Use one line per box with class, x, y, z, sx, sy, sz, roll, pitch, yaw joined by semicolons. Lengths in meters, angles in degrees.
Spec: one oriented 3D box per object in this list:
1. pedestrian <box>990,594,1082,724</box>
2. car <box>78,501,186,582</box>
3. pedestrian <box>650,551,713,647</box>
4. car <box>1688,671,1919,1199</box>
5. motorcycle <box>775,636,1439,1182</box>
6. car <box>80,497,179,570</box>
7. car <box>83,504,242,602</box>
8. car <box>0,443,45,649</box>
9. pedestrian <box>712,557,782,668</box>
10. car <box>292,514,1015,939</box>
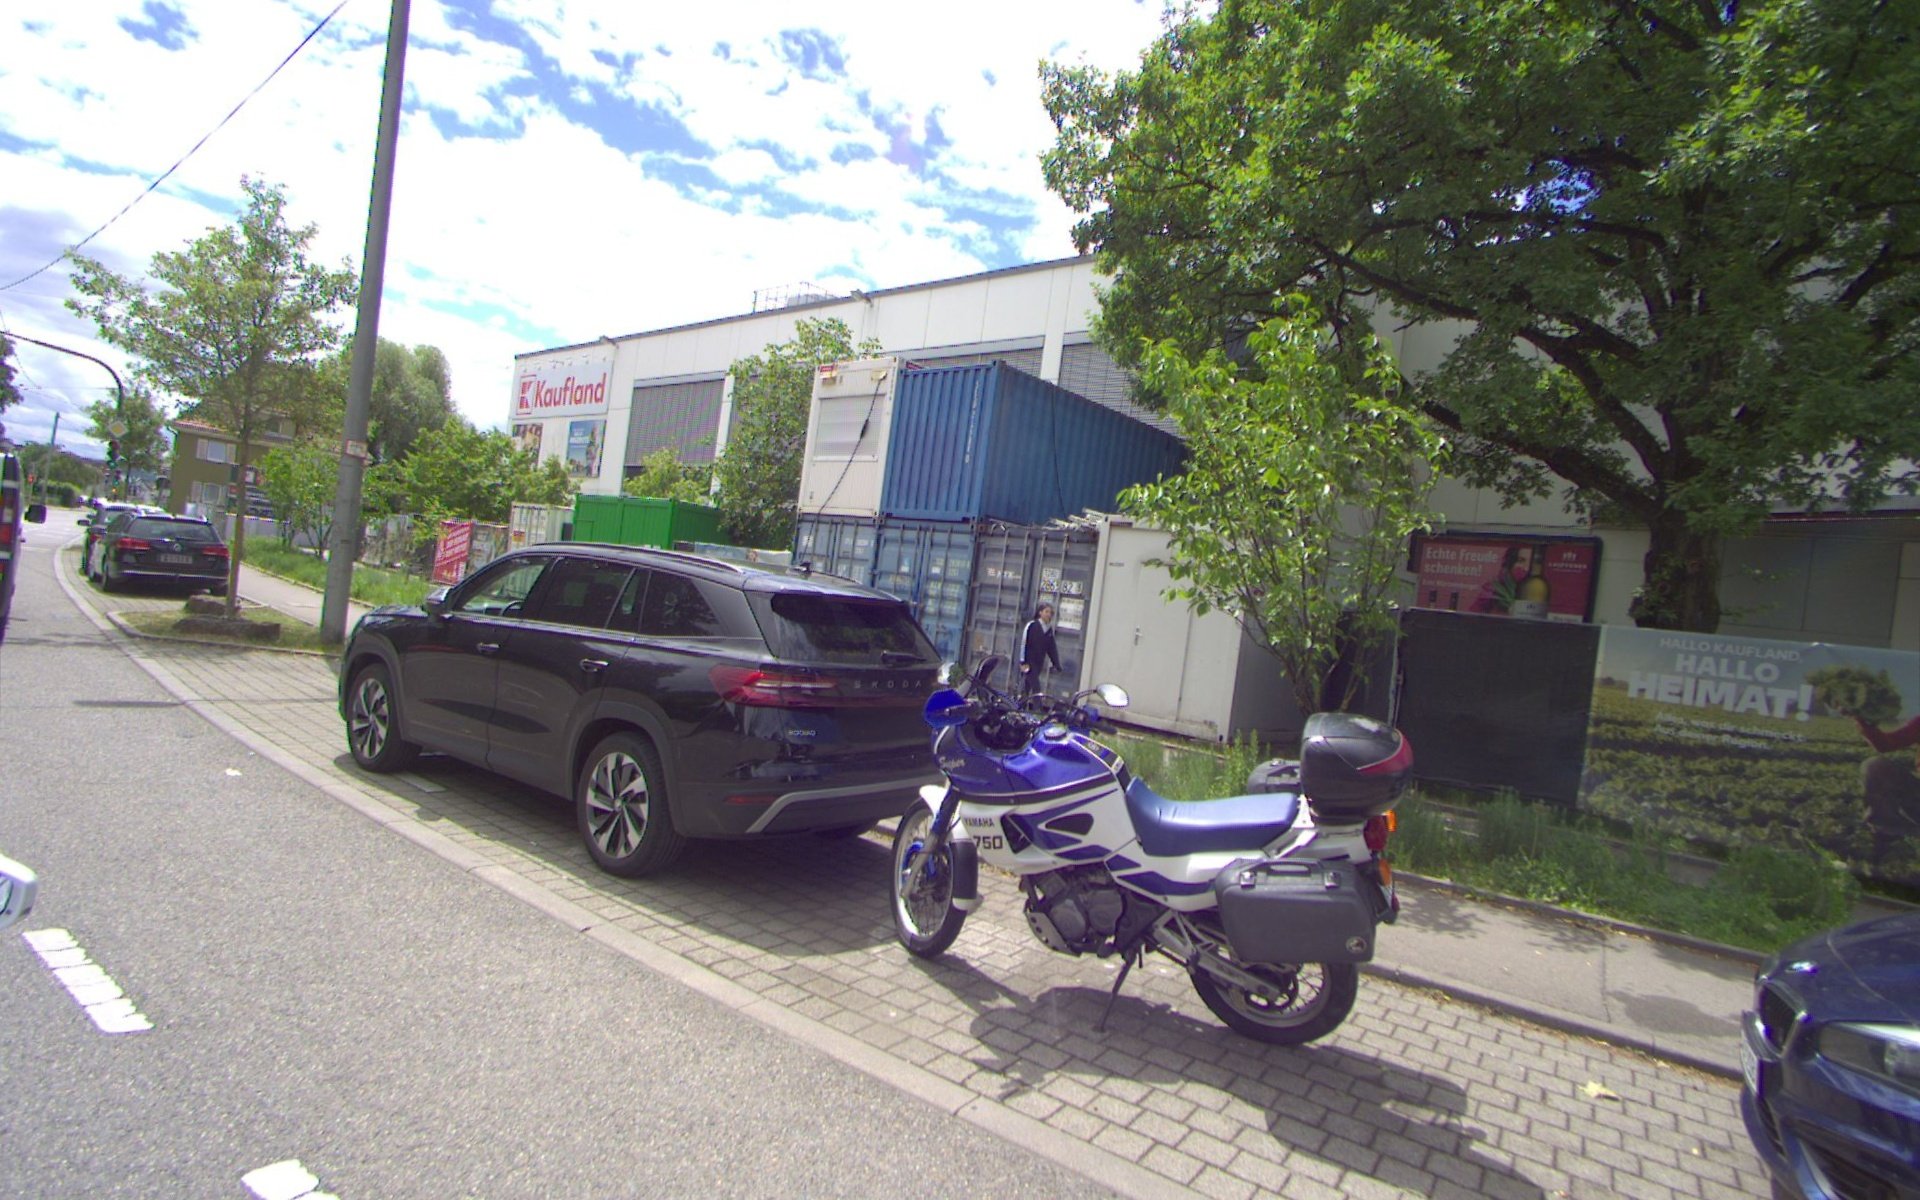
pedestrian;1.024;0.797;13.555;0.757;1.637;0.741;7;0;44
car;-18.694;-1.352;22.650;1.563;1.512;3.951;6;0;-43
pedestrian;-5.346;-0.018;19.297;0.833;1.718;0.650;7;0;44
car;4.286;1.224;2.002;4.358;1.598;1.917;7;1;34
motorcycle;0.504;0.929;3.940;2.224;1.323;1.071;7;2;34
car;-22.254;-1.809;26.905;1.730;1.637;4.333;4;2;-43
car;-15.241;-0.942;19.108;4.872;1.496;1.759;6;2;45
car;-11.488;-0.791;11.052;1.933;1.984;4.775;8;-1;-42
pedestrian;-3.500;0.203;16.513;0.715;1.717;0.649;7;0;44
car;-2.216;0.479;6.475;4.772;1.642;1.878;7;1;36
